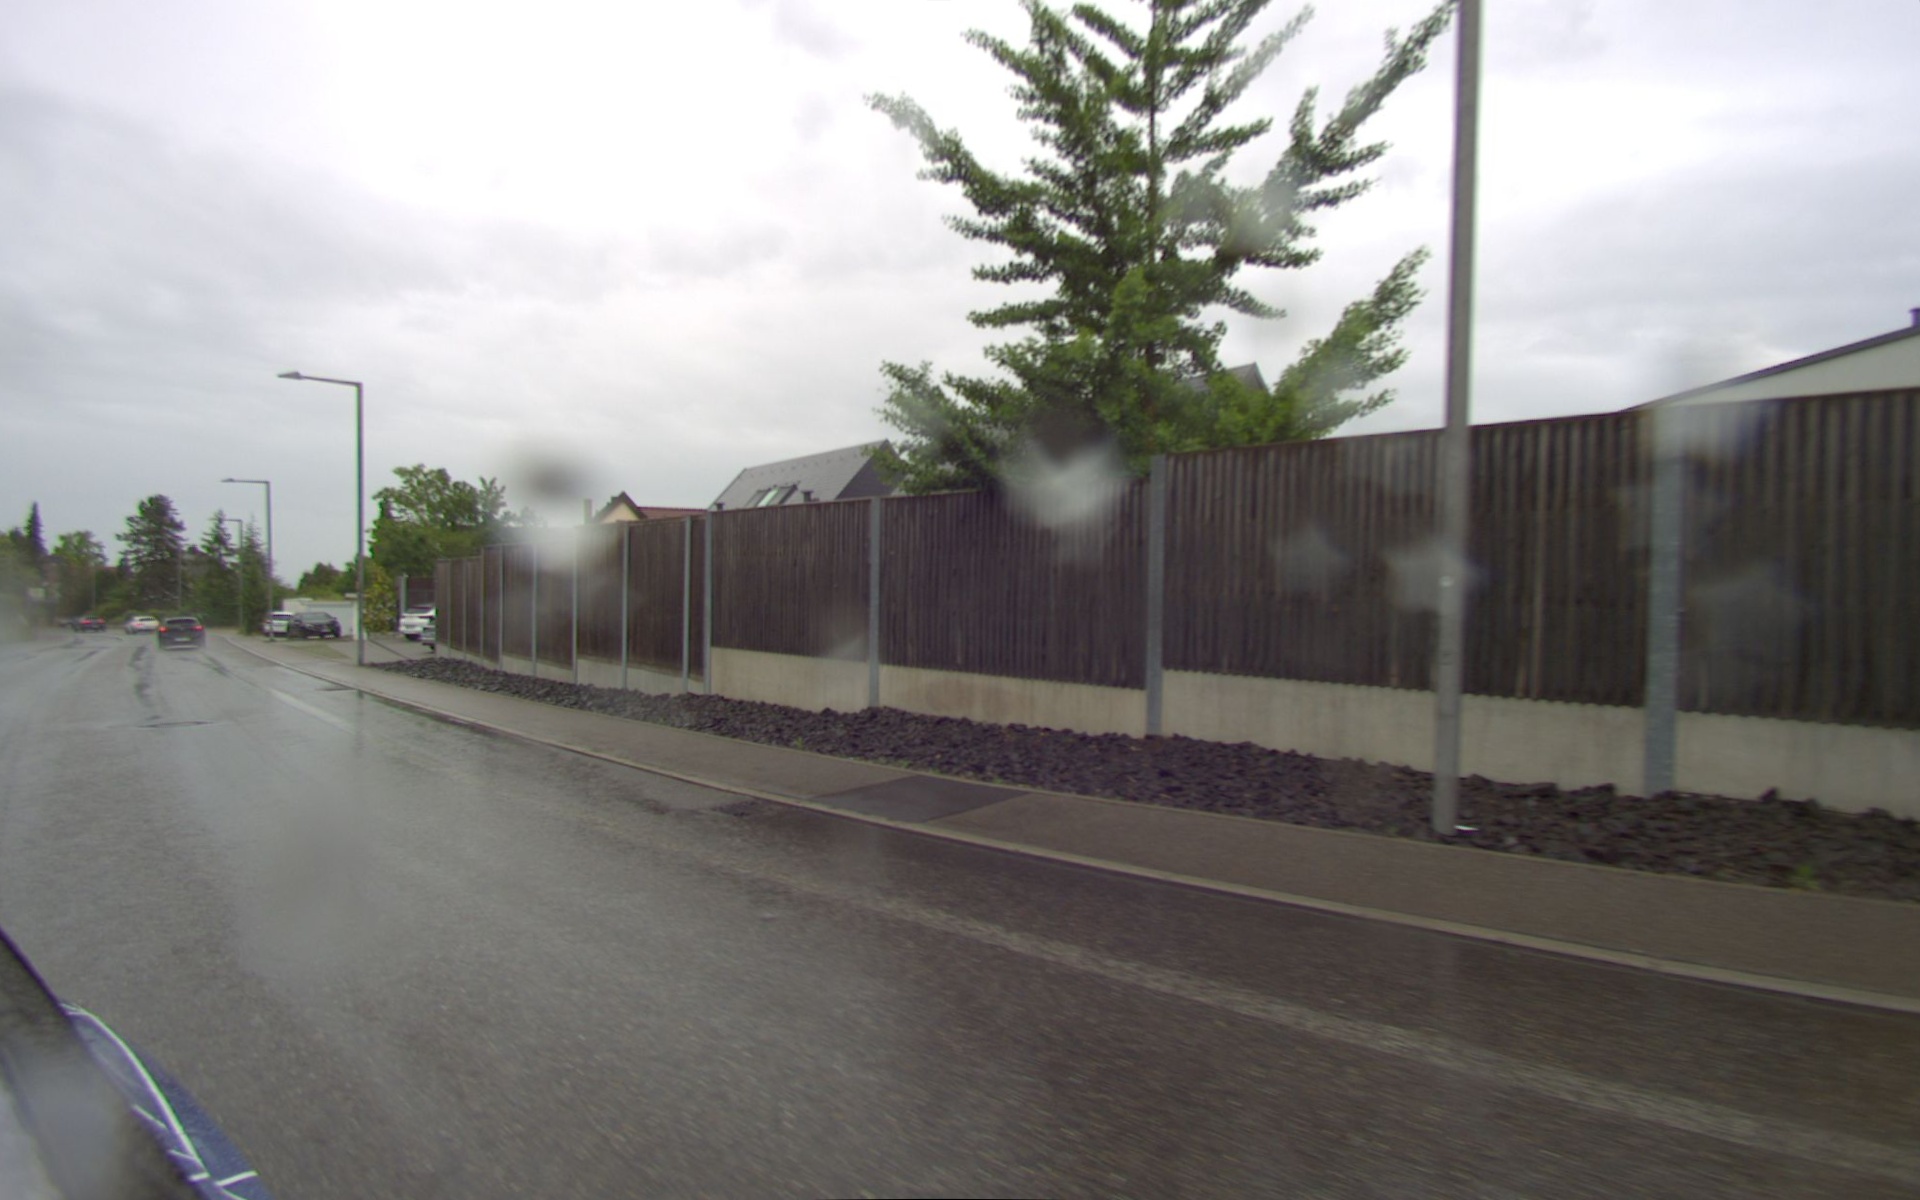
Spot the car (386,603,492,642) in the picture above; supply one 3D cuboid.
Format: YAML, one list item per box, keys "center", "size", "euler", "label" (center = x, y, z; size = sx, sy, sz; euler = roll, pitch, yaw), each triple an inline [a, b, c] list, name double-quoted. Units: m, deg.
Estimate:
- center: [-23.223, 0.974, 45.307]
  size: [1.927, 1.586, 4.033]
  euler: [-1, 0, 18]
  label: "car"

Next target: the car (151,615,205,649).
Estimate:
- center: [-36.092, 1.448, 46.658]
  size: [1.857, 1.460, 4.216]
  euler: [0, -1, -39]
  label: "car"

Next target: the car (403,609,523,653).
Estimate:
- center: [-19.114, 1.145, 39.184]
  size: [1.743, 1.453, 4.516]
  euler: [-1, 1, 12]
  label: "car"

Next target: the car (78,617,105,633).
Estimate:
- center: [-83.312, 2.400, 97.118]
  size: [1.827, 1.480, 3.707]
  euler: [-1, 0, -38]
  label: "car"

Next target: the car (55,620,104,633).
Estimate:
- center: [-102.019, 3.061, 117.287]
  size: [1.870, 1.281, 3.952]
  euler: [0, 1, 36]
  label: "car"

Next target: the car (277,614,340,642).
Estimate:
- center: [-34.911, 1.486, 54.173]
  size: [4.259, 1.416, 1.814]
  euler: [-1, 0, 43]
  label: "car"

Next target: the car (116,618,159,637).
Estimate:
- center: [-67.526, 2.268, 83.033]
  size: [4.262, 1.471, 1.829]
  euler: [-1, 0, 38]
  label: "car"

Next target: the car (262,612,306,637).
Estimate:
- center: [-44.012, 1.568, 65.936]
  size: [1.681, 1.565, 4.403]
  euler: [-1, 0, -24]
  label: "car"
